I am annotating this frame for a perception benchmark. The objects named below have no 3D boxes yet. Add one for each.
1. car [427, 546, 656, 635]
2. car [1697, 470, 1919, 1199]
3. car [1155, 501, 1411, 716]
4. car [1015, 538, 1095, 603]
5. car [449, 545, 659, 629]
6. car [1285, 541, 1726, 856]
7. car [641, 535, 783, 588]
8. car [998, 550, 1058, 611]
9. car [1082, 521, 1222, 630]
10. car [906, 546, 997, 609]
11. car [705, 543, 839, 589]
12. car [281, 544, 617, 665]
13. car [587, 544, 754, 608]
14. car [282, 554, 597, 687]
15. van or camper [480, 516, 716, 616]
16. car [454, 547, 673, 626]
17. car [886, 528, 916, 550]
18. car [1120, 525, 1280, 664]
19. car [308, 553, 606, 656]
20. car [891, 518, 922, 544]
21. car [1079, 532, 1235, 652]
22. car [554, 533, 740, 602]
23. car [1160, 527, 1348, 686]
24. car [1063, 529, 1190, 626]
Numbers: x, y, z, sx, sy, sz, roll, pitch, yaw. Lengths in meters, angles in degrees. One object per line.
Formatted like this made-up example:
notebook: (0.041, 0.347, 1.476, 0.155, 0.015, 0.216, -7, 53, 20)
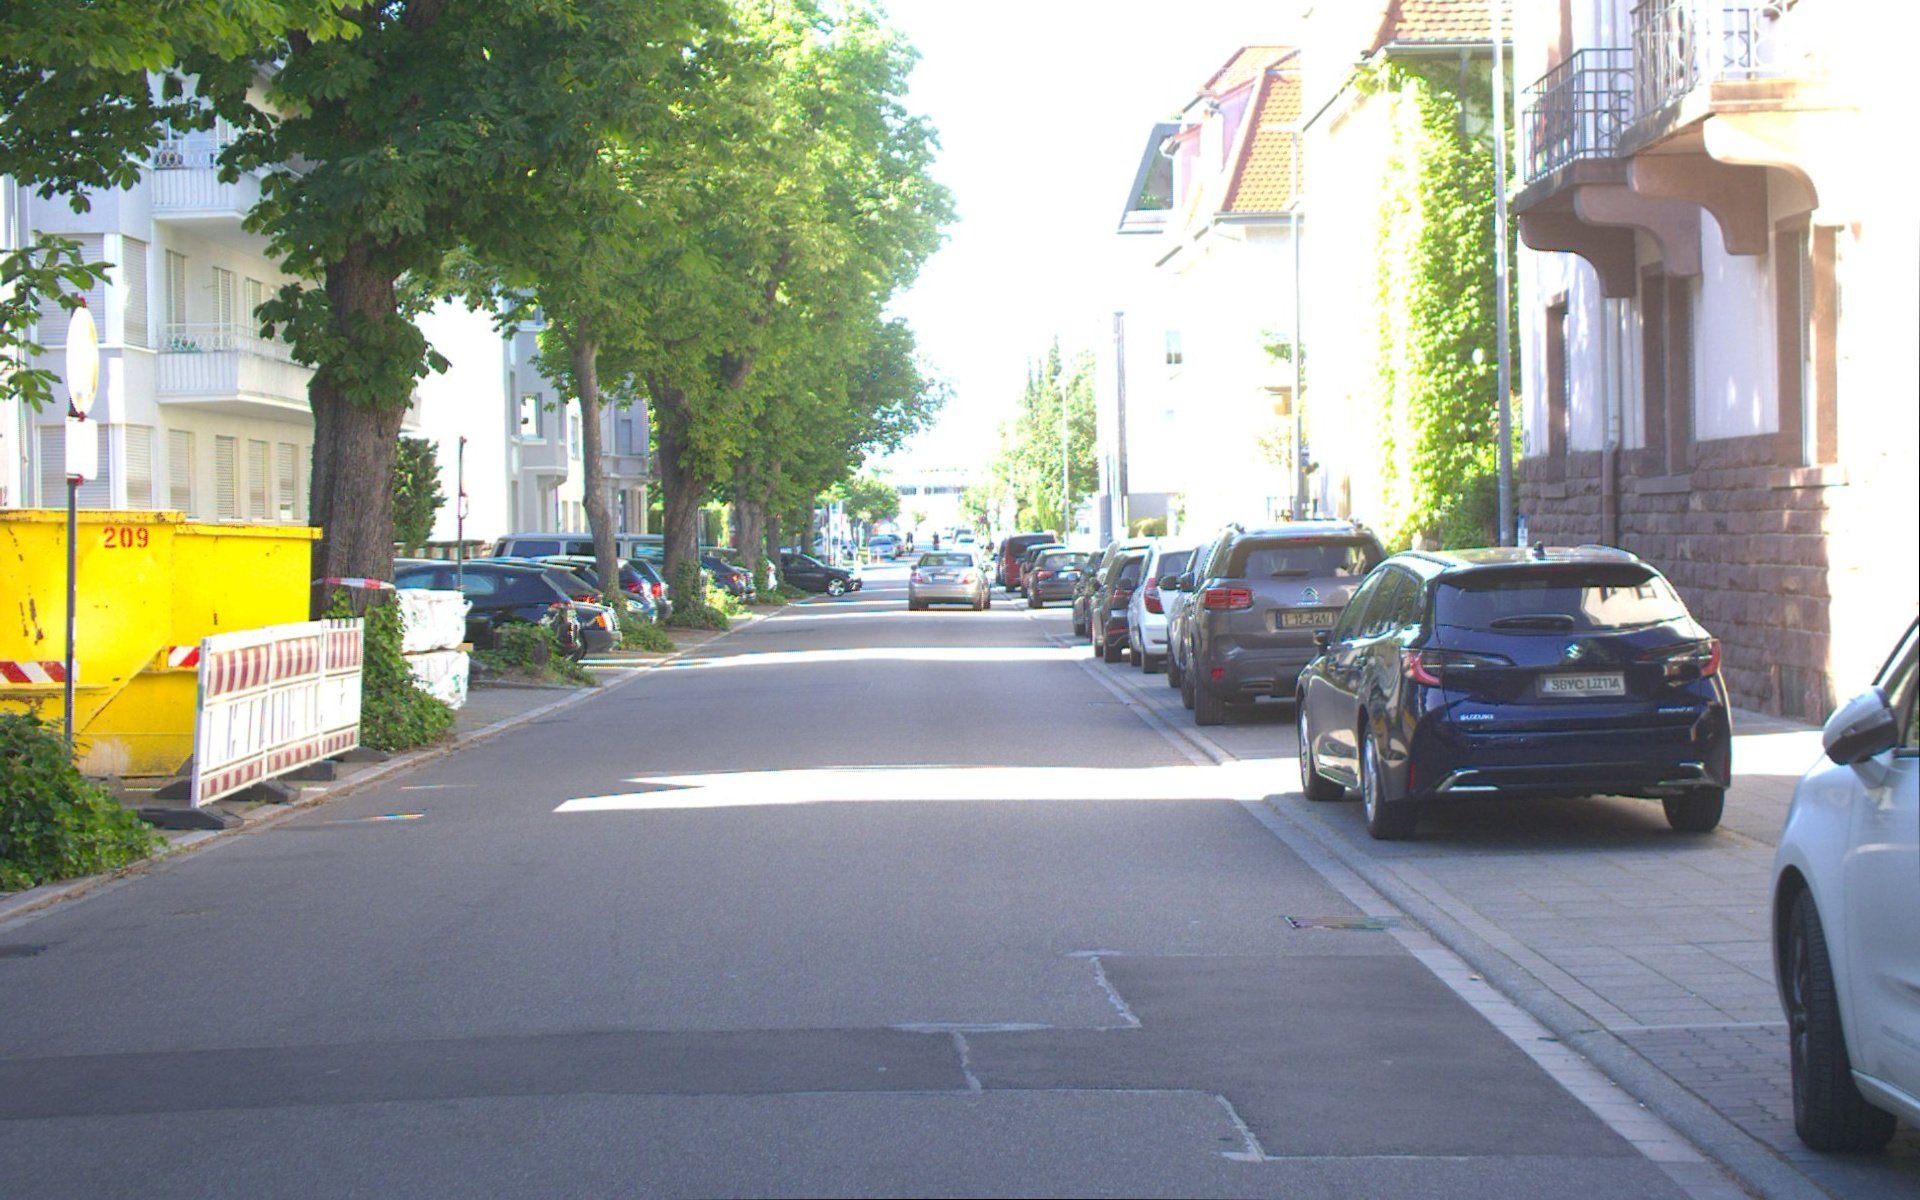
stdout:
car: (-7.113, -0.172, 58.656, 3.644, 1.458, 1.710, 0, 1, 2)
car: (2.884, 0.525, 6.907, 1.867, 1.639, 4.199, -2, 1, 0)
car: (2.695, 0.067, 29.537, 1.778, 1.690, 4.320, 1, 0, 0)
car: (2.286, -0.742, 83.757, 1.619, 1.435, 3.935, -4, 1, -2)
car: (-7.188, -0.243, 61.079, 3.478, 1.453, 1.797, 0, 1, 1)
car: (2.782, 0.428, 18.436, 1.643, 1.449, 4.503, -1, 1, 0)
car: (-7.253, -1.136, 100.843, 4.022, 1.479, 1.807, 1, 1, -1)
car: (2.227, -0.641, 113.270, 1.871, 1.898, 5.197, -2, 0, 1)
car: (2.889, -0.364, 52.619, 1.791, 1.515, 4.367, -3, 0, -1)
car: (-0.178, -0.557, 82.659, 1.727, 1.415, 3.959, -1, 1, 6)
car: (-6.052, -1.096, 110.931, 4.189, 1.443, 1.712, 1, 0, 2)
car: (-7.220, 0.043, 48.604, 4.588, 1.601, 1.833, -1, 1, -9)
car: (-7.186, -0.609, 85.653, 3.987, 1.463, 1.697, -1, 1, 0)
car: (-6.686, 0.247, 44.212, 3.869, 1.509, 1.833, -2, 1, -9)
van or camper: (-7.235, -0.685, 69.005, 4.497, 1.908, 1.964, -1, 1, 0)
car: (-7.328, -0.261, 63.795, 3.921, 1.410, 1.716, 0, 2, -2)
car: (-4.243, -4.335, 245.732, 1.786, 1.527, 4.001, -1, 1, -6)
car: (2.849, -0.067, 41.393, 1.575, 1.544, 3.469, -3, 0, -1)
car: (-7.453, 0.059, 51.201, 4.187, 1.436, 1.713, -1, 1, -1)
car: (-3.785, -4.859, 241.208, 1.872, 1.722, 4.001, -2, 1, -5)
car: (2.560, -0.105, 45.585, 1.709, 1.431, 4.193, -3, 0, -1)
car: (-7.311, -0.779, 80.663, 4.186, 1.493, 1.861, -2, 1, -1)
car: (2.941, 0.060, 34.831, 1.625, 1.544, 2.869, 0, 0, -1)
car: (2.766, -0.367, 57.998, 1.662, 1.515, 4.002, -3, 0, -3)
